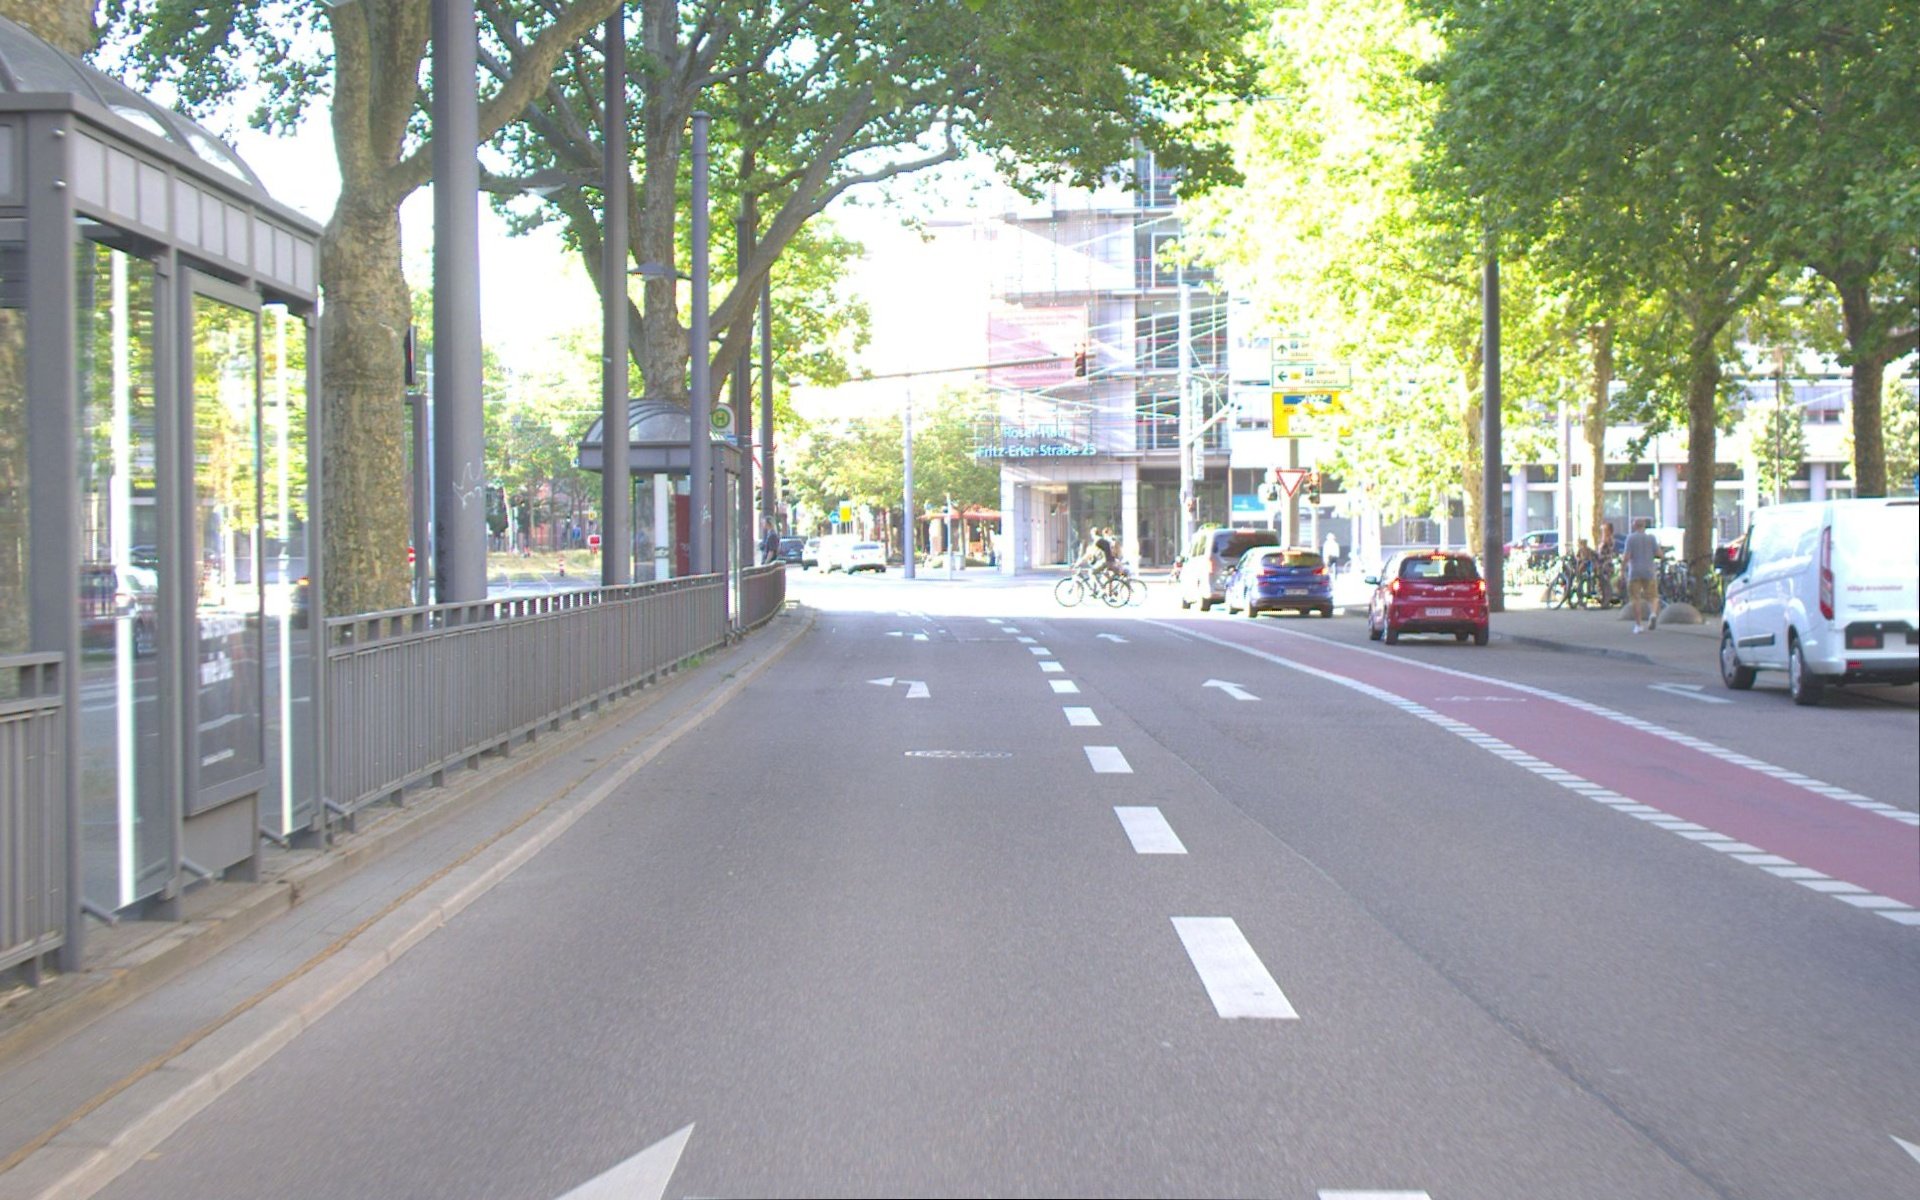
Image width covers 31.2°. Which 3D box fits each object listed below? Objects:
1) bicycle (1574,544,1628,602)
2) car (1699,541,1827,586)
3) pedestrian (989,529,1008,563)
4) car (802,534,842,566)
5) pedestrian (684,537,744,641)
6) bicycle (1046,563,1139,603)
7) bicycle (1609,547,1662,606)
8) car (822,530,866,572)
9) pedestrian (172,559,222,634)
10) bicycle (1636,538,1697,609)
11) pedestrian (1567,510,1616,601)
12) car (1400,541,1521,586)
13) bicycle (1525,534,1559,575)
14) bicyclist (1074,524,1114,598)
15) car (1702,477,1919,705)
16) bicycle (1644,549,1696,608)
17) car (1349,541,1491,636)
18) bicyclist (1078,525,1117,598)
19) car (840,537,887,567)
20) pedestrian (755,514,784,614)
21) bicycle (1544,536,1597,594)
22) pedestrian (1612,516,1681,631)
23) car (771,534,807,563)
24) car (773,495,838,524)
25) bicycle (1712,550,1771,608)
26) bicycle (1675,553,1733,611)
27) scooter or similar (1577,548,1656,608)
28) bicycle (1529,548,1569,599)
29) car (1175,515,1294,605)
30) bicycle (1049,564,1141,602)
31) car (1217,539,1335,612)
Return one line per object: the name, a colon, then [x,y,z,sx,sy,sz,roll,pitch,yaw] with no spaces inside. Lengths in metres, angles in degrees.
bicycle: [12.580,-0.539,67.430,0.596,1.112,1.947,0,1,24]
car: [29.048,-1.318,124.462,4.241,1.555,1.795,-1,1,3]
pedestrian: [1.673,-2.353,150.147,0.739,1.460,0.537,-1,1,-5]
car: [-7.297,-2.648,181.821,1.993,1.656,4.001,-1,1,-4]
pedestrian: [-3.314,-0.154,46.323,0.734,1.383,0.640,1,0,1]
bicycle: [3.192,-0.408,82.896,2.177,0.930,0.668,0,1,-5]
bicycle: [13.194,-0.464,67.104,0.596,1.112,1.824,0,1,24]
car: [-5.620,-2.361,166.435,1.993,1.985,4.001,-1,1,-4]
pedestrian: [-17.236,-0.077,77.649,1.072,1.676,0.758,0,0,-10]
bicycle: [12.779,-0.487,62.226,0.595,1.260,1.877,-1,1,-4]
pedestrian: [12.422,-0.880,67.645,0.807,1.779,0.657,0,1,23]
car: [18.235,-1.338,125.288,4.241,1.596,1.795,-1,1,5]
bicycle: [14.221,-1.112,84.051,0.450,0.979,1.477,-1,1,-5]
bicyclist: [3.235,-0.941,82.885,0.849,1.779,0.753,-1,1,-4]
car: [9.083,-0.140,34.876,2.123,2.127,5.289,-1,1,2]
bicycle: [13.815,-0.416,66.856,0.607,1.112,1.824,0,1,24]
car: [7.332,-0.206,55.032,1.558,1.459,3.622,0,1,-4]
bicyclist: [3.388,-0.952,84.643,0.849,1.761,0.753,-1,1,-4]
car: [-4.500,-2.232,159.670,1.993,1.327,4.001,-1,1,-4]
pedestrian: [-3.637,-0.680,65.752,0.509,1.894,0.760,1,0,-2]
bicycle: [12.093,-0.702,68.064,0.596,1.112,1.824,0,1,24]
pedestrian: [10.787,-0.417,54.049,0.872,1.779,0.809,-1,1,-3]
car: [-10.122,-3.070,203.245,1.993,1.656,4.001,-1,1,-4]
car: [-9.807,-5.762,218.279,3.763,1.744,1.781,1,0,11]
bicycle: [14.172,-0.393,62.379,0.595,1.028,1.655,-1,1,-4]
bicycle: [13.488,-0.334,62.345,0.595,1.028,1.655,-1,1,-4]
scooter or similar: [13.200,-0.428,69.134,1.252,1.138,0.916,3,-2,-17]
bicycle: [12.378,-0.564,72.287,0.627,1.053,1.572,-1,1,3]
car: [6.248,-0.927,78.907,1.993,1.959,5.138,1,1,-3]
bicycle: [3.322,-0.419,84.652,2.177,0.930,0.668,0,1,-5]
car: [6.602,-0.538,72.202,1.764,1.459,4.218,-1,1,-5]
